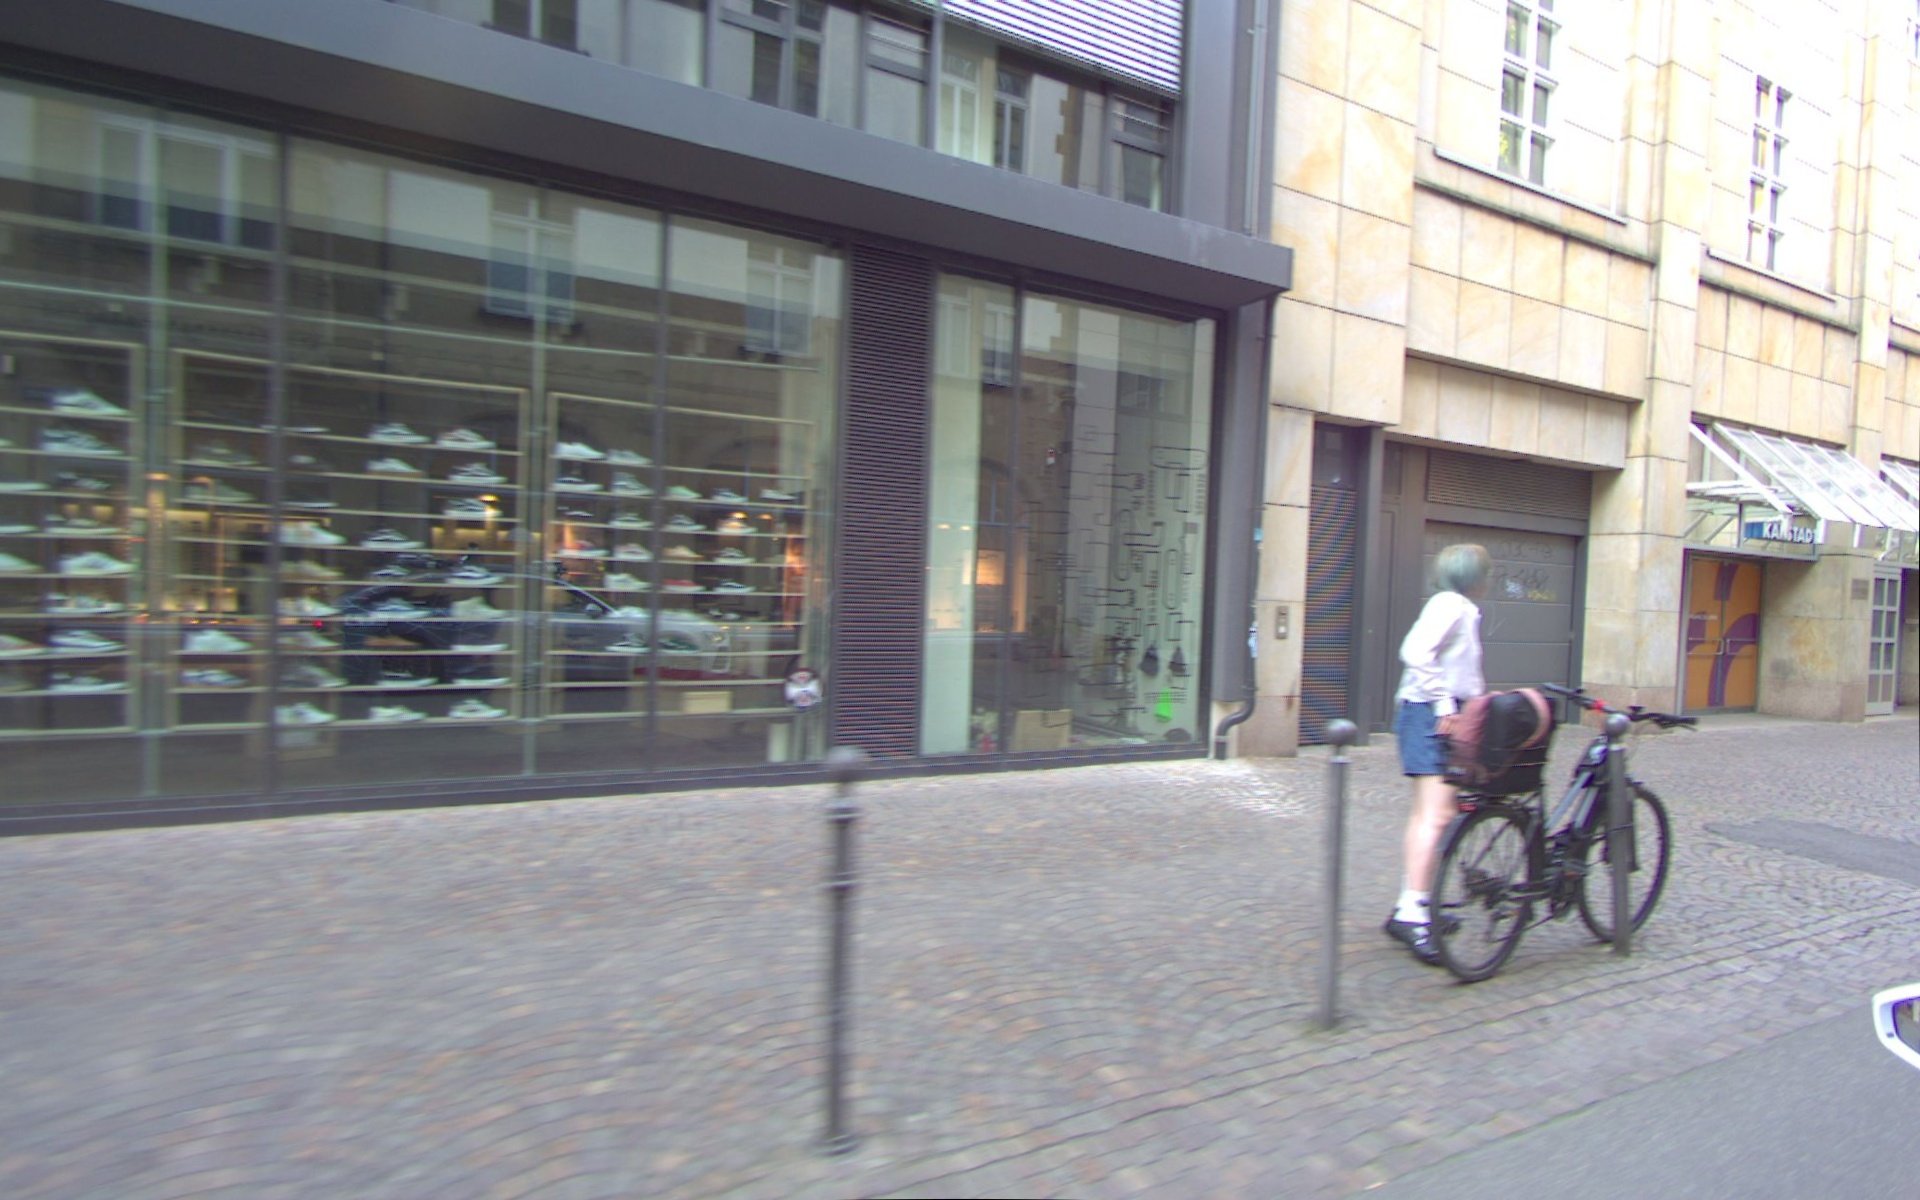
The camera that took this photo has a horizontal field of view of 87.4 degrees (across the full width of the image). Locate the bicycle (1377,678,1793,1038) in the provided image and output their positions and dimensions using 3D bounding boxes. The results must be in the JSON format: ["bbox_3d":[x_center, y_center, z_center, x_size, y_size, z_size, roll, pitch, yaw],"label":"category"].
[{"bbox_3d":[2.630,0.951,4.165,1.891,1.169,0.530,1,3,-28],"label":"bicycle"}]

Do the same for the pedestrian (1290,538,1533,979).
[{"bbox_3d":[1.989,0.619,4.441,0.758,1.741,0.589,5,3,40],"label":"pedestrian"}]
